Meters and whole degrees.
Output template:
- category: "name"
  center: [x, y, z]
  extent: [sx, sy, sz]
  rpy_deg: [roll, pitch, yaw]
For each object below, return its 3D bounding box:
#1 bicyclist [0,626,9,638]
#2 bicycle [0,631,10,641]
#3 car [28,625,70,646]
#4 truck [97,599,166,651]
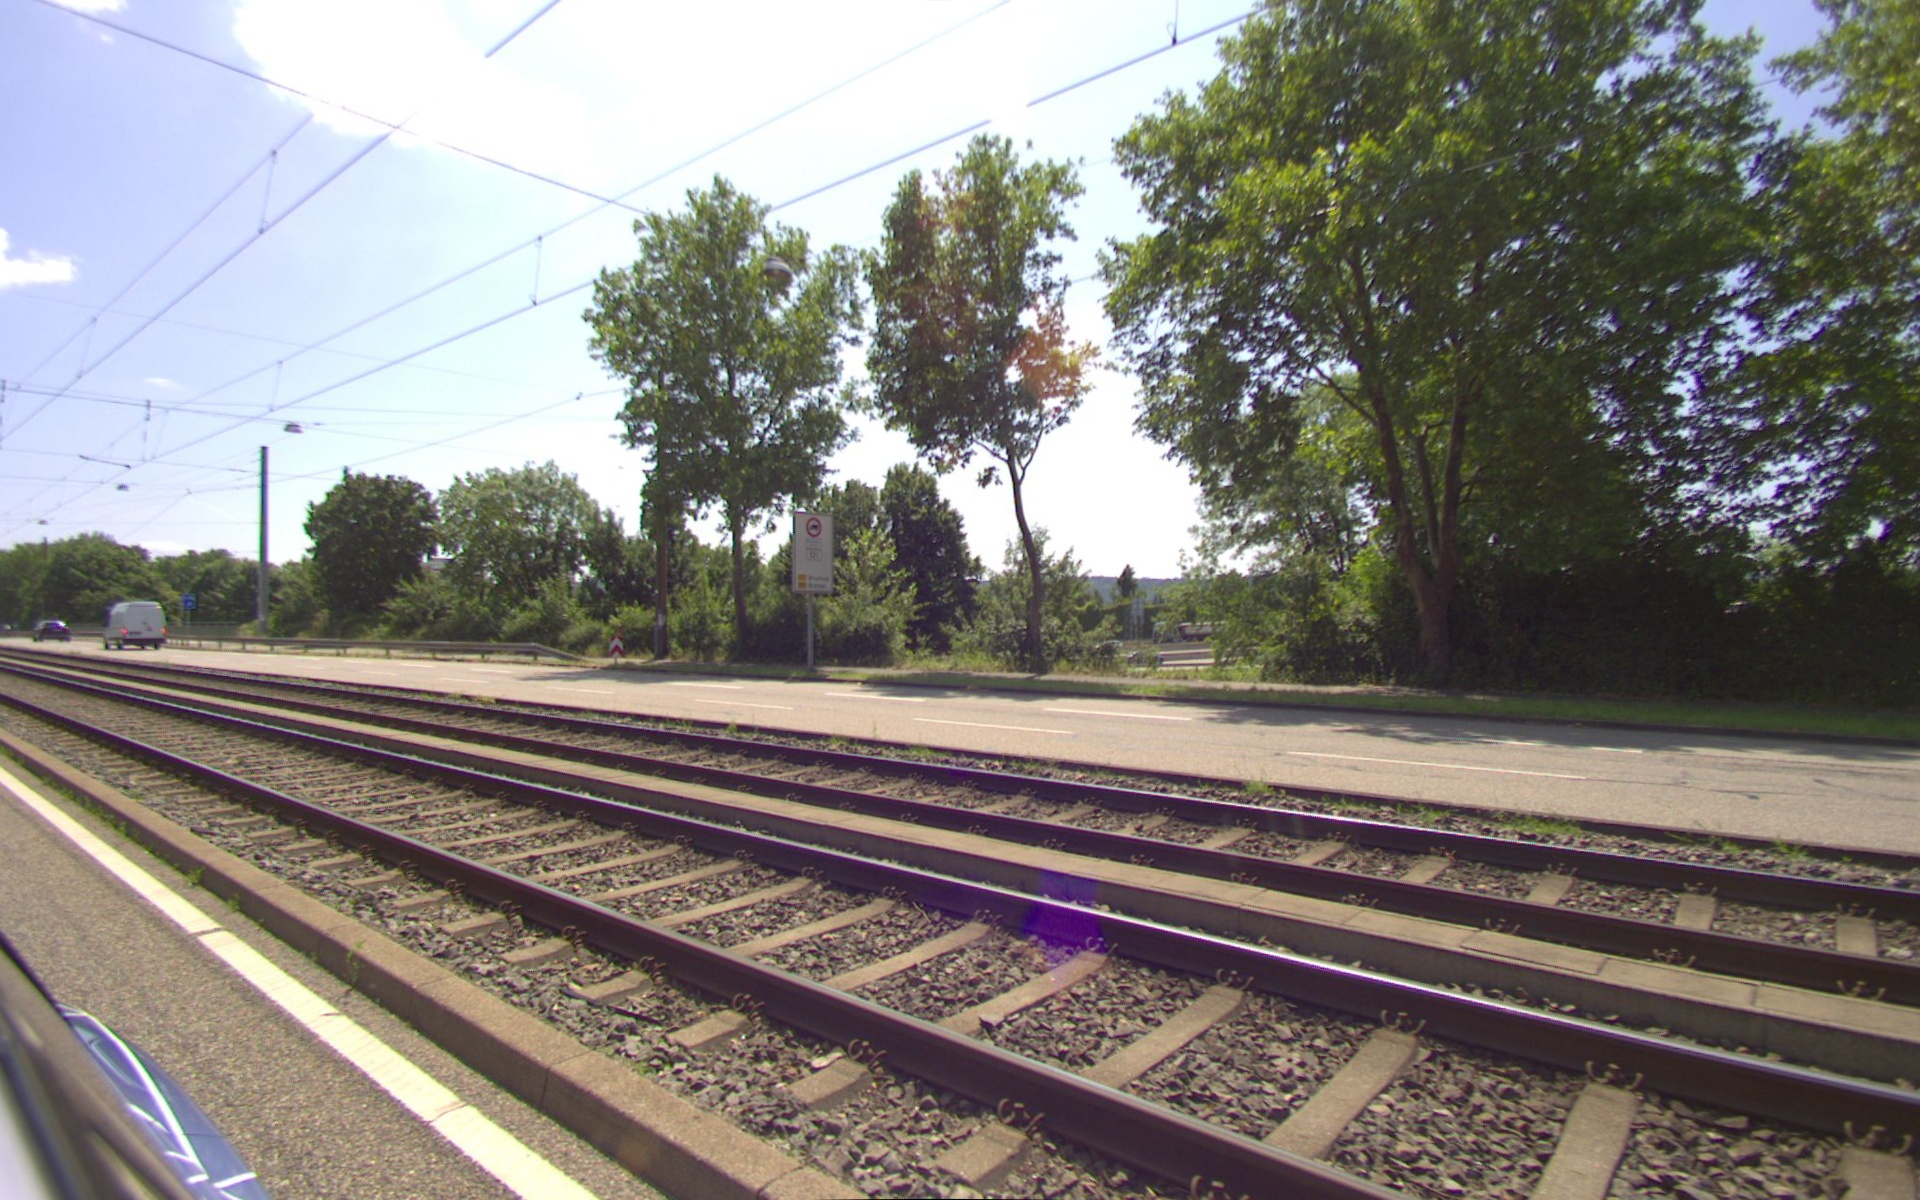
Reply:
- category: "bicyclist"
  center: [-123.973, 4.154, 131.340]
  extent: [0.837, 1.634, 0.755]
  rpy_deg: [-1, -1, 40]
- category: "bicycle"
  center: [-123.949, 4.650, 131.309]
  extent: [2.060, 1.194, 0.848]
  rpy_deg: [-1, -1, 40]
- category: "car"
  center: [-69.144, 2.674, 76.778]
  extent: [4.425, 1.526, 1.799]
  rpy_deg: [-1, -3, 41]
- category: "truck"
  center: [-49.267, 1.514, 60.129]
  extent: [6.316, 2.961, 2.032]
  rpy_deg: [-1, -3, 41]
